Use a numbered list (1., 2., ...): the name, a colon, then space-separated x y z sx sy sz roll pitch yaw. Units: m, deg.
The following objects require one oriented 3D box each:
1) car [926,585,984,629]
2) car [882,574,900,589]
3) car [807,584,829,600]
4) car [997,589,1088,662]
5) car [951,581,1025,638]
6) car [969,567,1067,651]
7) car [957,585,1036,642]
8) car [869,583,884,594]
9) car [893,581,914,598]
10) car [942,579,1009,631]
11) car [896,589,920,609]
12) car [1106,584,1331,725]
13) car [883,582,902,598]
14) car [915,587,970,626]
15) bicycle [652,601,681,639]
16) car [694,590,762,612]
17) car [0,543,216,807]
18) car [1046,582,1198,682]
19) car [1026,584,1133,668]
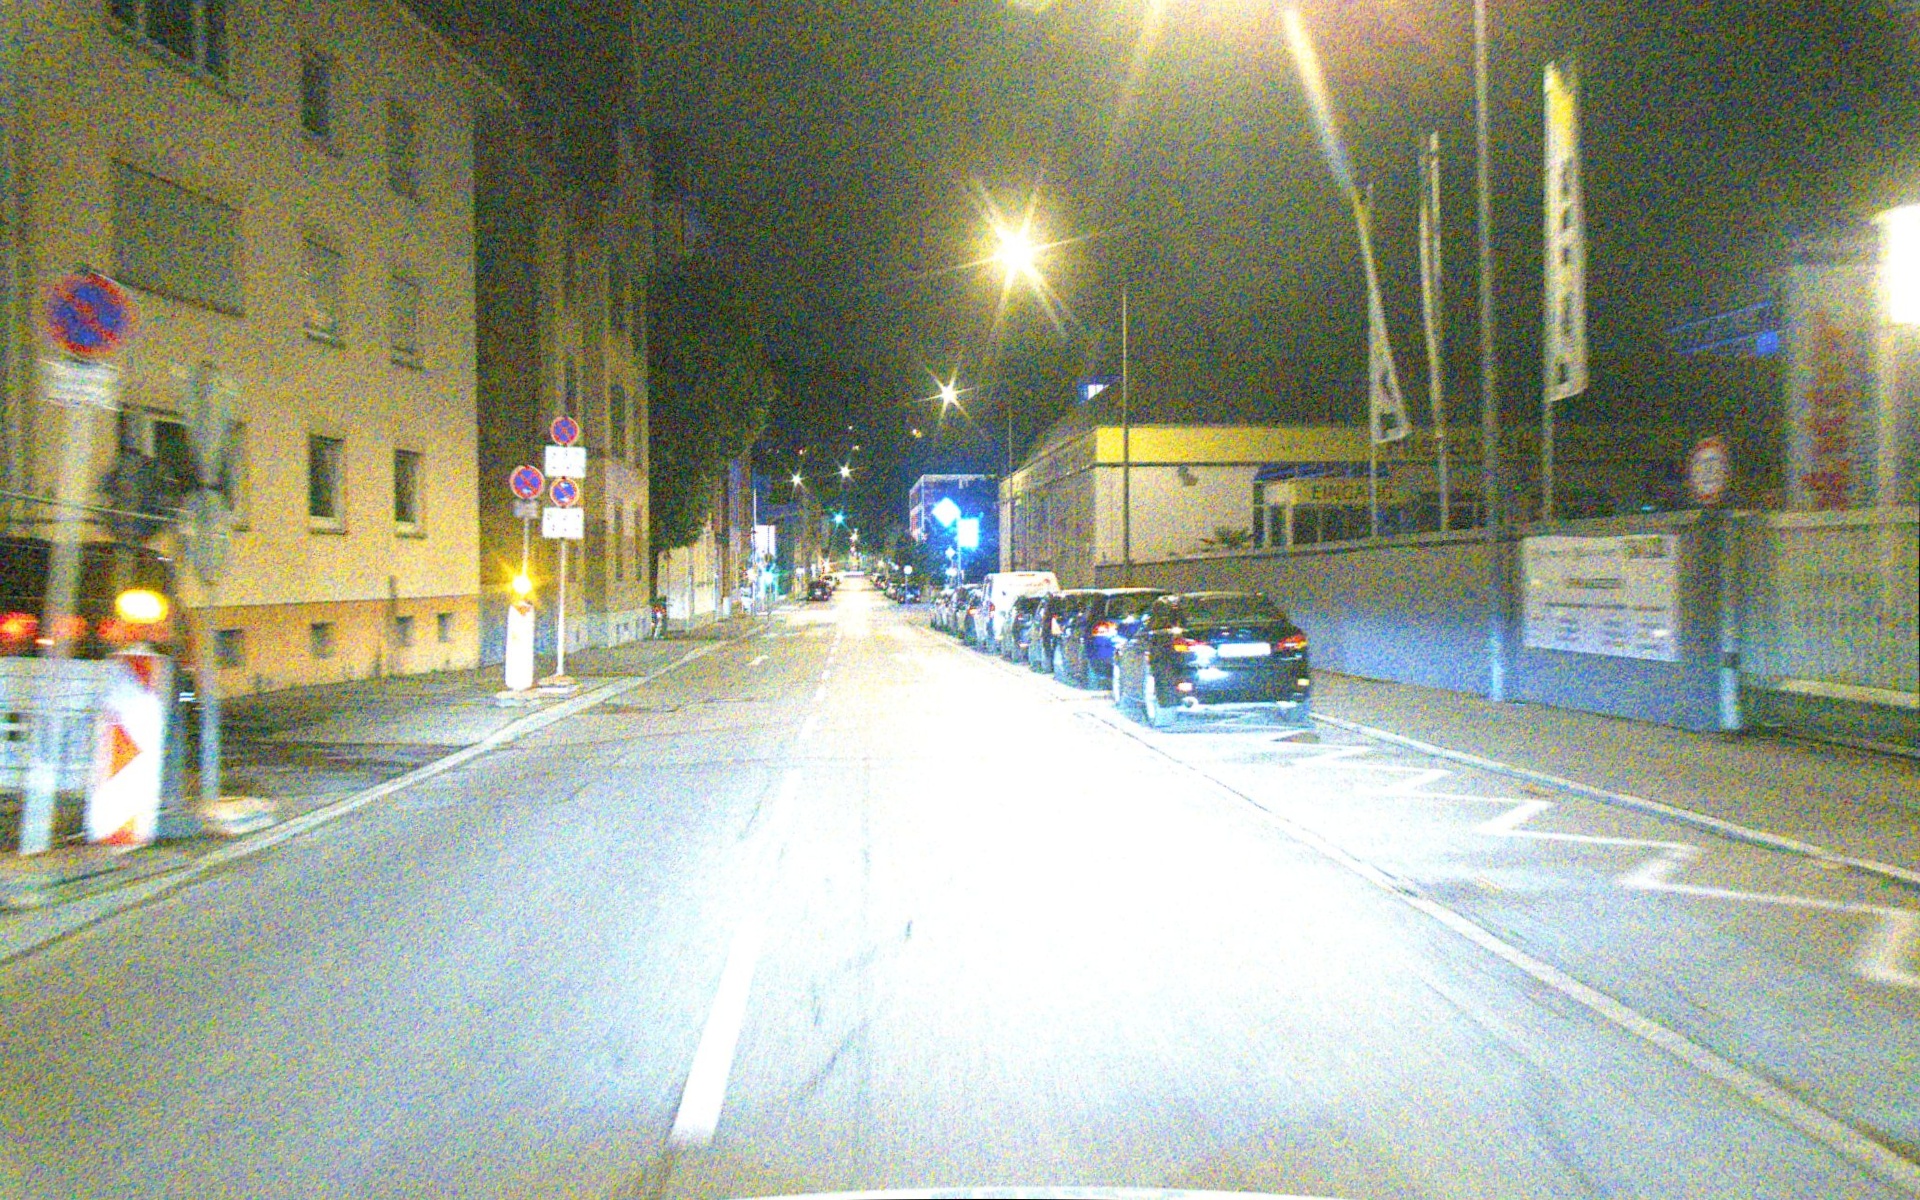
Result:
1. car: -0.222 0.249 62.260 1.740 1.571 4.540 0 0 -6
2. car: -7.643 -2.058 183.970 1.953 1.546 3.998 0 0 -2
3. car: -13.198 -0.735 153.872 1.954 1.528 3.997 0 0 -4
4. car: 1.736 0.524 35.920 1.563 1.492 3.889 0 0 -3
5. car: 0.805 0.251 51.046 1.788 1.616 4.624 -2 1 -5
6. car: 1.382 0.186 41.453 1.766 1.907 4.768 -3 1 -6
7. car: 0.974 0.339 46.206 1.781 1.452 4.185 -2 1 -4
8. car: -11.730 -1.642 231.934 1.953 1.546 3.998 0 0 -2
9. car: -5.481 -1.016 160.131 1.953 1.546 3.998 0 0 -2
10. car: 0.489 0.136 56.444 1.788 1.651 4.452 -2 1 -6
11. car: -4.283 -0.109 136.001 1.953 1.543 3.998 0 1 -2
12. car: 2.891 0.568 19.460 1.743 1.451 4.478 0 0 -3
13. car: -6.783 -0.996 166.652 1.953 1.546 3.998 0 0 -2
14. car: -0.745 0.252 67.237 1.824 1.515 4.540 0 0 -6
15. bicycle: -8.558 0.582 48.255 0.607 1.070 1.720 0 0 -3
16. car: -15.606 0.067 111.360 4.351 1.475 1.998 0 0 -4
17. car: -8.356 0.561 13.309 3.902 1.922 1.910 0 0 9
18. car: 2.480 0.466 26.185 1.744 1.451 3.888 0 0 -4
19. car: 2.214 0.467 31.396 1.563 1.492 3.716 0 0 -3
